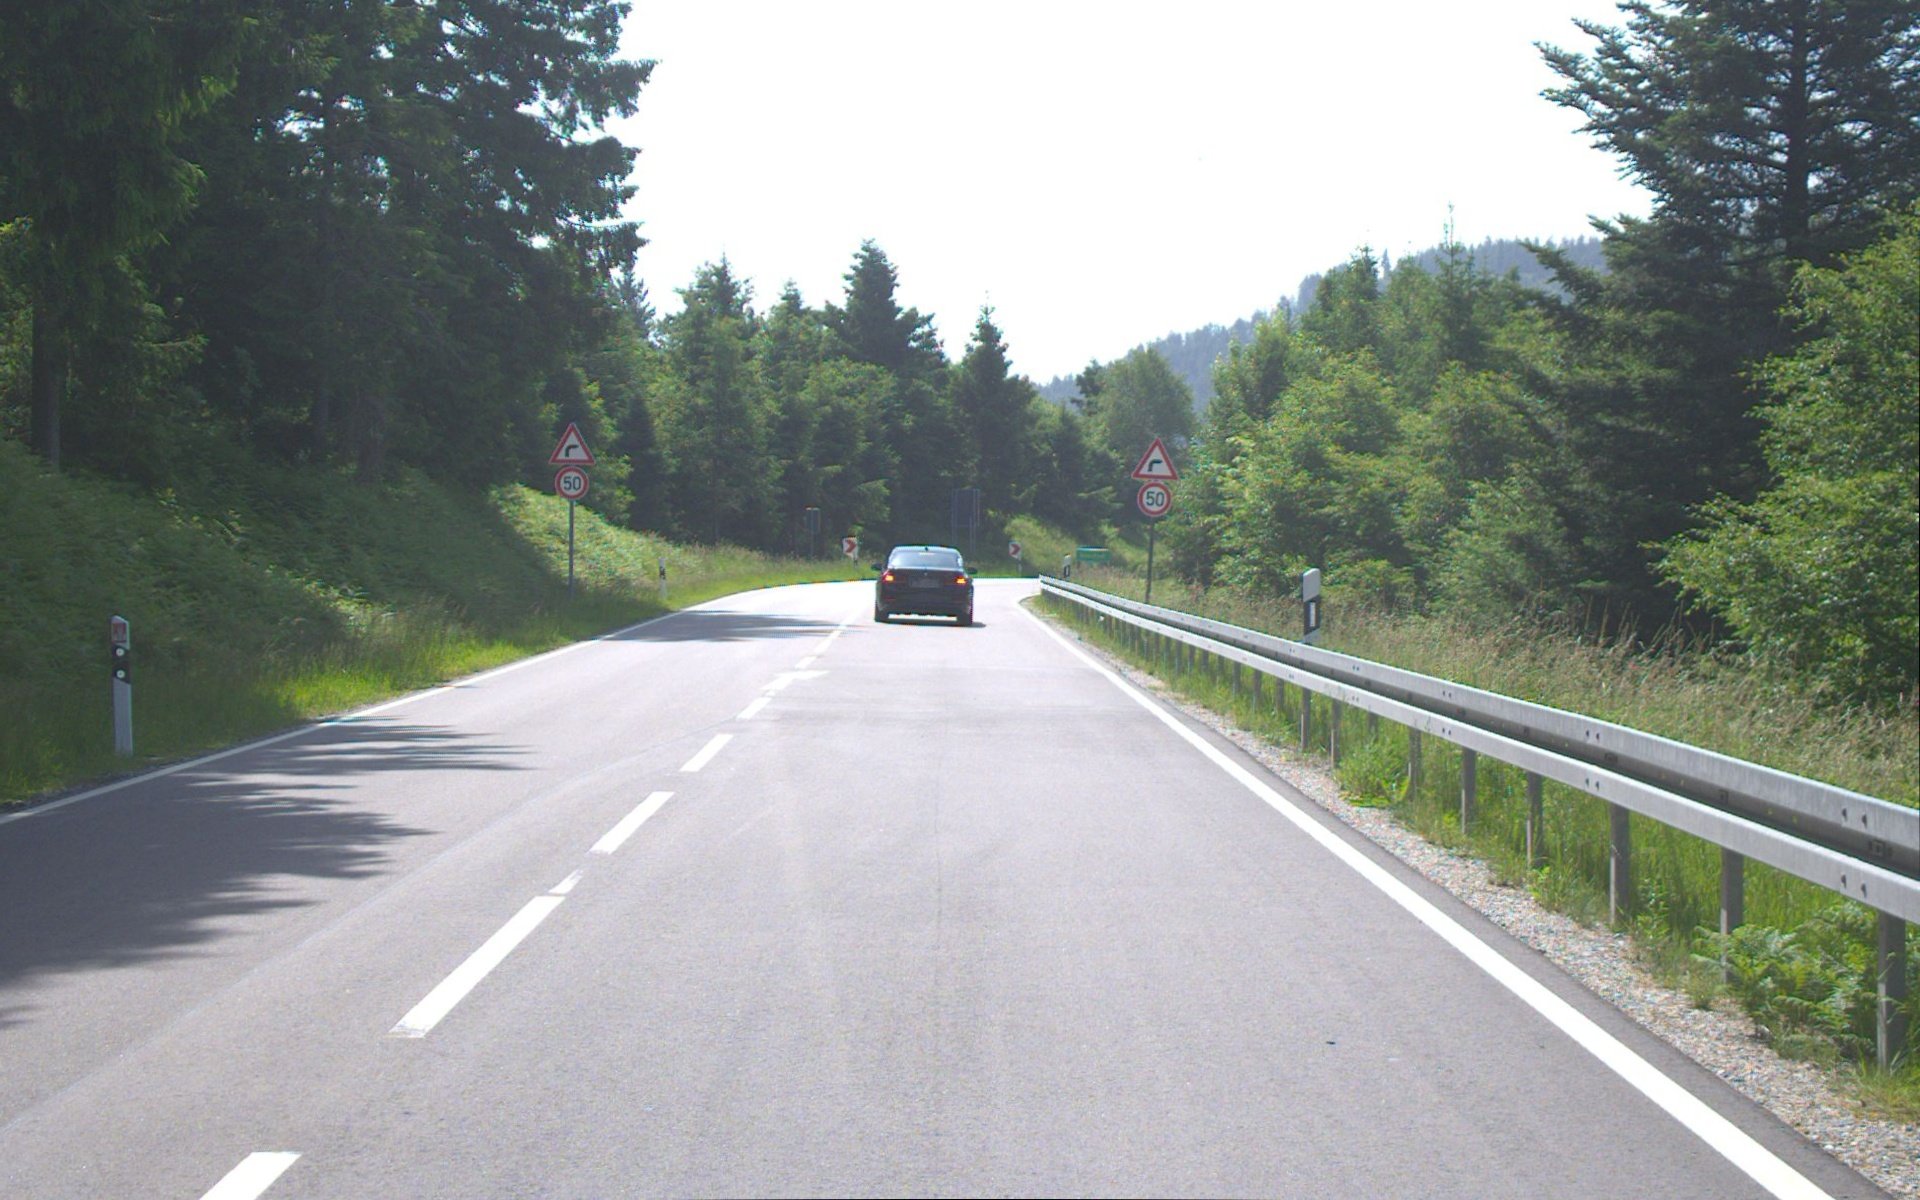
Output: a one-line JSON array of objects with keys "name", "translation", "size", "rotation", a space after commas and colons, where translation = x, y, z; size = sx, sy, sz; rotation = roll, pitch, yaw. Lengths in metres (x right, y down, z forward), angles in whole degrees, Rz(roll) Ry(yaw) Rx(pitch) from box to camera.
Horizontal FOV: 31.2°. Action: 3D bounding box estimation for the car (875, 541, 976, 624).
[{"name": "car", "translation": [-0.606, -0.341, 63.537], "size": [1.776, 1.437, 3.709], "rotation": [1, 1, 0]}]
